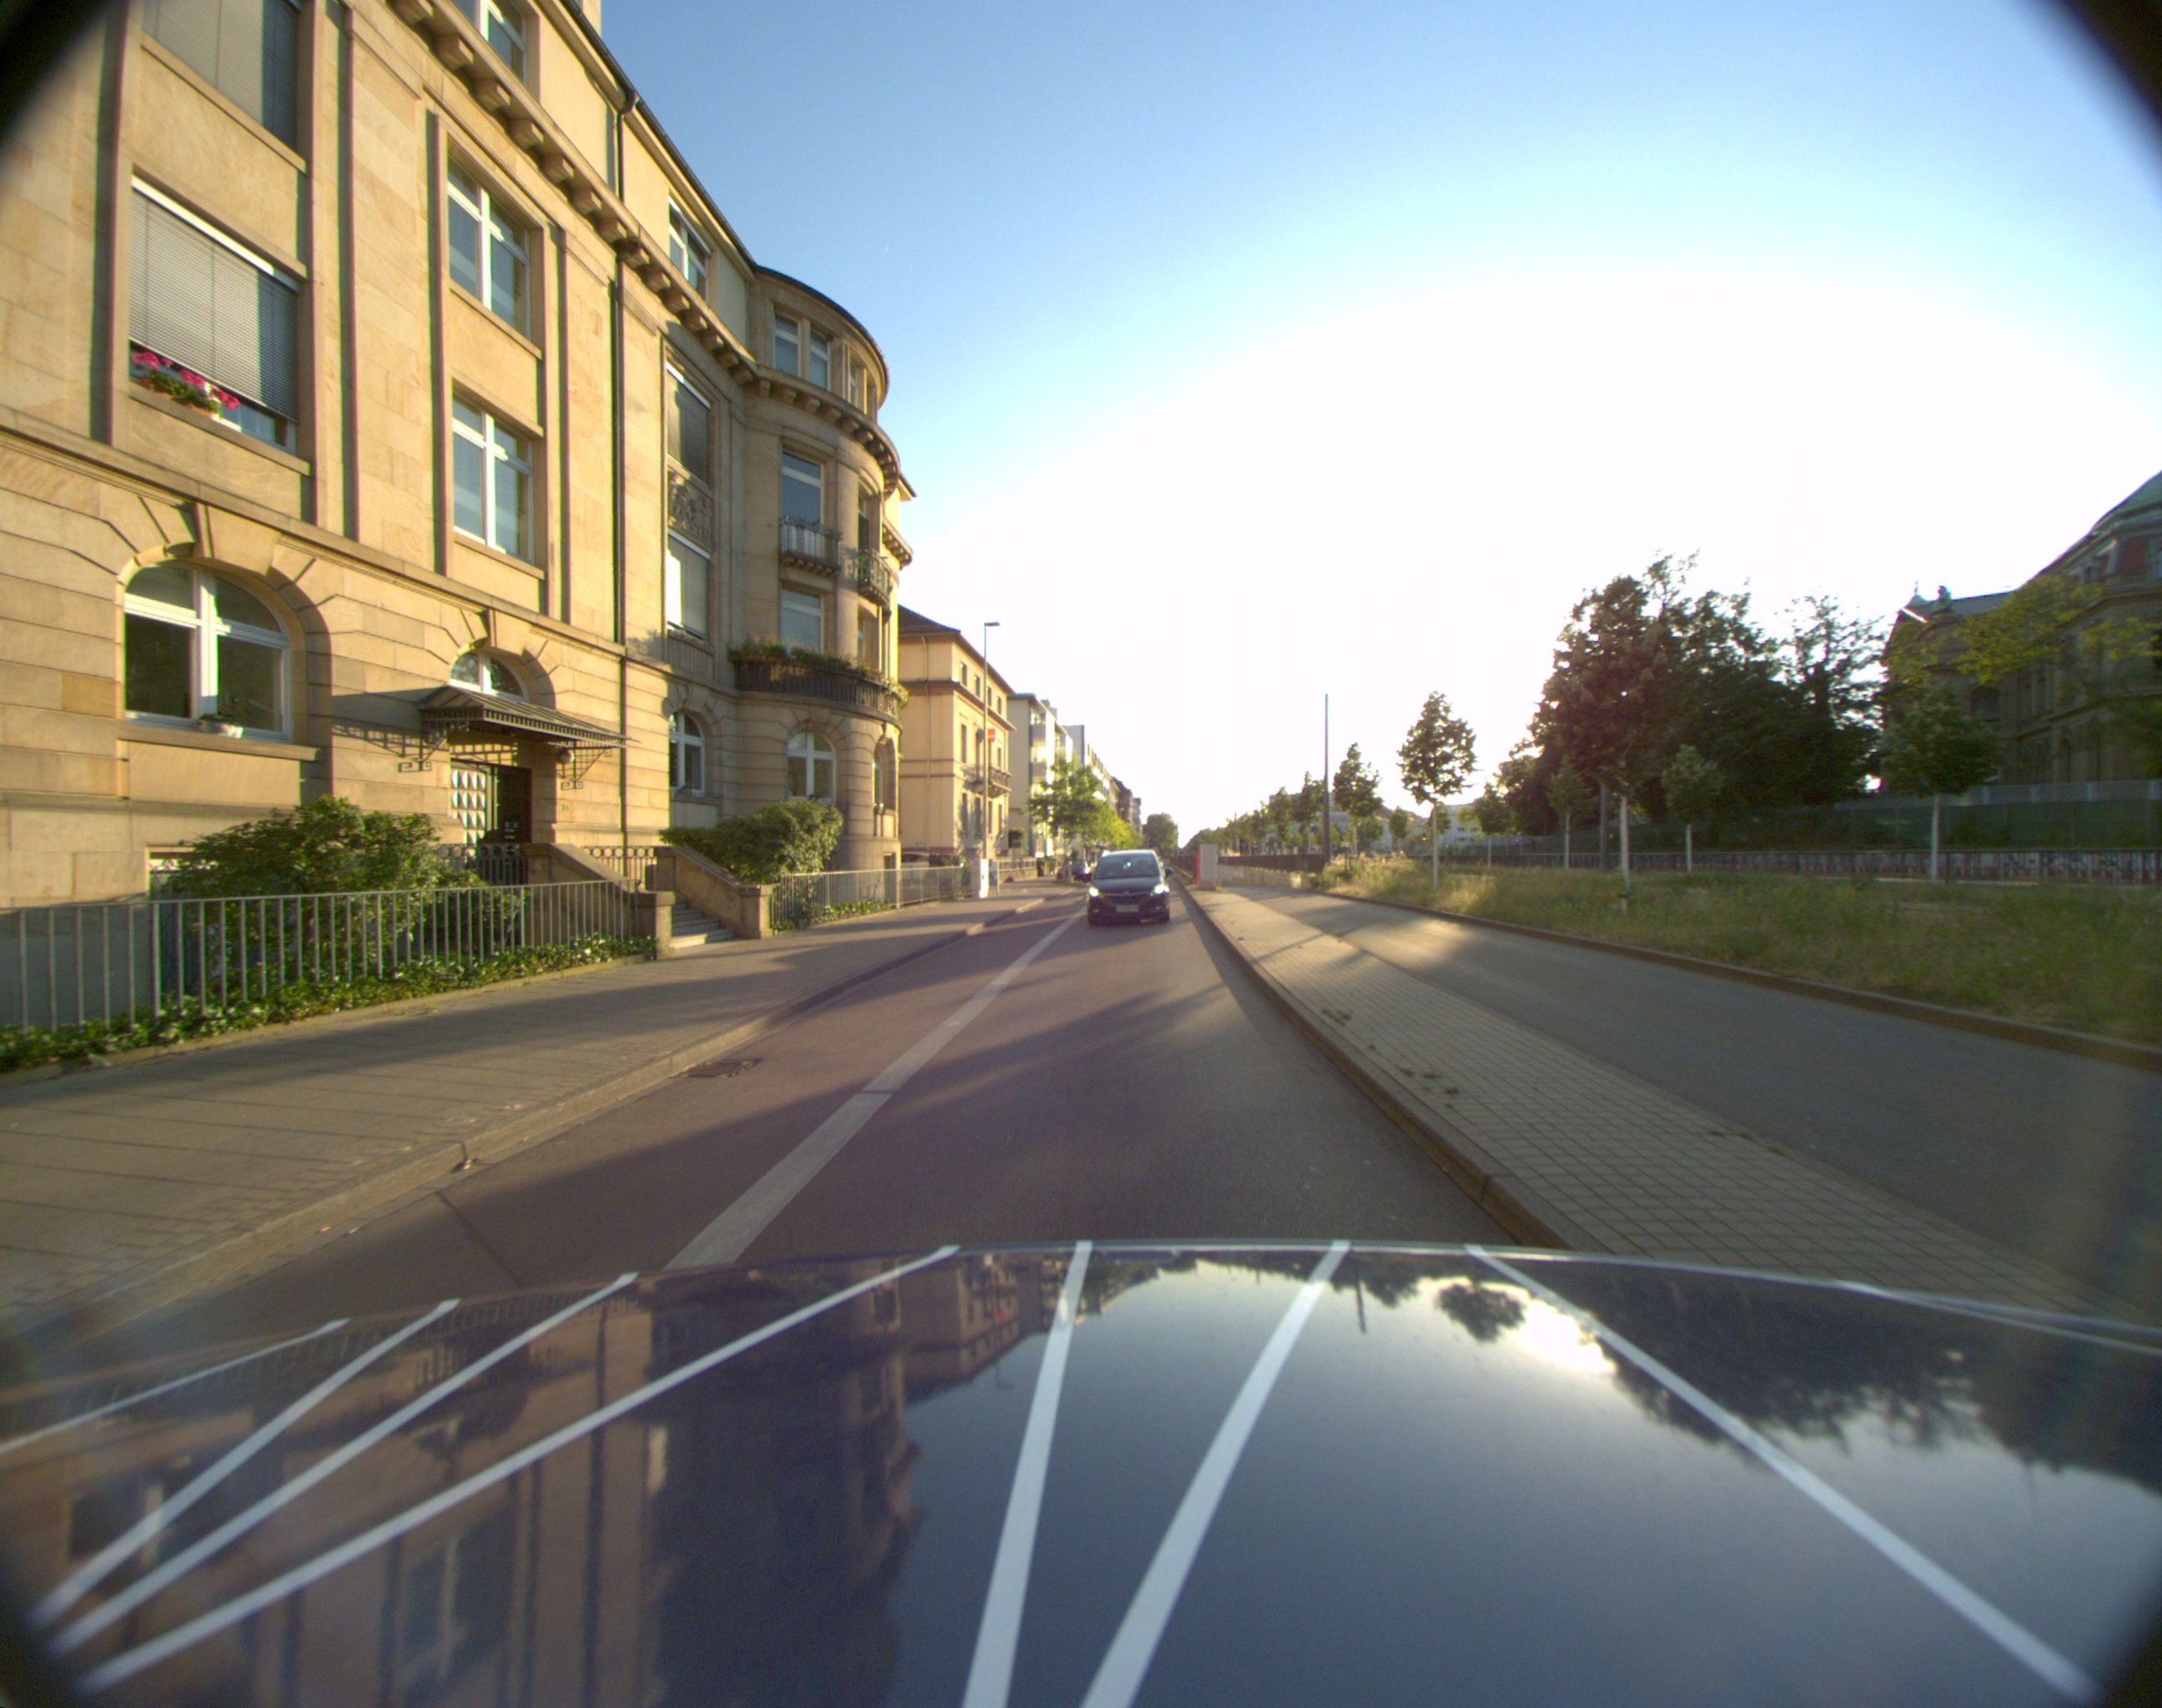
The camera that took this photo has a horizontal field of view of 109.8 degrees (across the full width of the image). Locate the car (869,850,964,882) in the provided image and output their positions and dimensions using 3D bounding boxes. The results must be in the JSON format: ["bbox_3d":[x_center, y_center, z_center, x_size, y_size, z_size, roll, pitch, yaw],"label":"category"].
[{"bbox_3d":[-7.958,0.576,36.970,4.095,1.472,1.939,-1,0,6],"label":"car"}]

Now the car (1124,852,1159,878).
[{"bbox_3d":[3.652,0.674,45.131,1.858,1.425,4.846,-2,-1,6],"label":"car"}]

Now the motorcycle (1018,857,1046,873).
[{"bbox_3d":[-3.421,0.769,53.056,1.847,1.090,0.576,-1,0,11],"label":"motorcycle"}]

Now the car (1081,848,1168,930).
[{"bbox_3d":[1.111,0.687,17.856,1.770,1.649,4.854,0,1,5],"label":"car"}]

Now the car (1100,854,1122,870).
[{"bbox_3d":[2.962,0.735,74.428,1.936,1.472,4.102,-1,0,5],"label":"car"}]

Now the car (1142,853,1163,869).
[{"bbox_3d":[6.763,0.715,72.104,1.858,1.425,4.845,-2,-1,5],"label":"car"}]

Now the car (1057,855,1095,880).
[{"bbox_3d":[-0.264,0.792,45.511,1.881,1.394,4.102,-1,0,5],"label":"car"}]
